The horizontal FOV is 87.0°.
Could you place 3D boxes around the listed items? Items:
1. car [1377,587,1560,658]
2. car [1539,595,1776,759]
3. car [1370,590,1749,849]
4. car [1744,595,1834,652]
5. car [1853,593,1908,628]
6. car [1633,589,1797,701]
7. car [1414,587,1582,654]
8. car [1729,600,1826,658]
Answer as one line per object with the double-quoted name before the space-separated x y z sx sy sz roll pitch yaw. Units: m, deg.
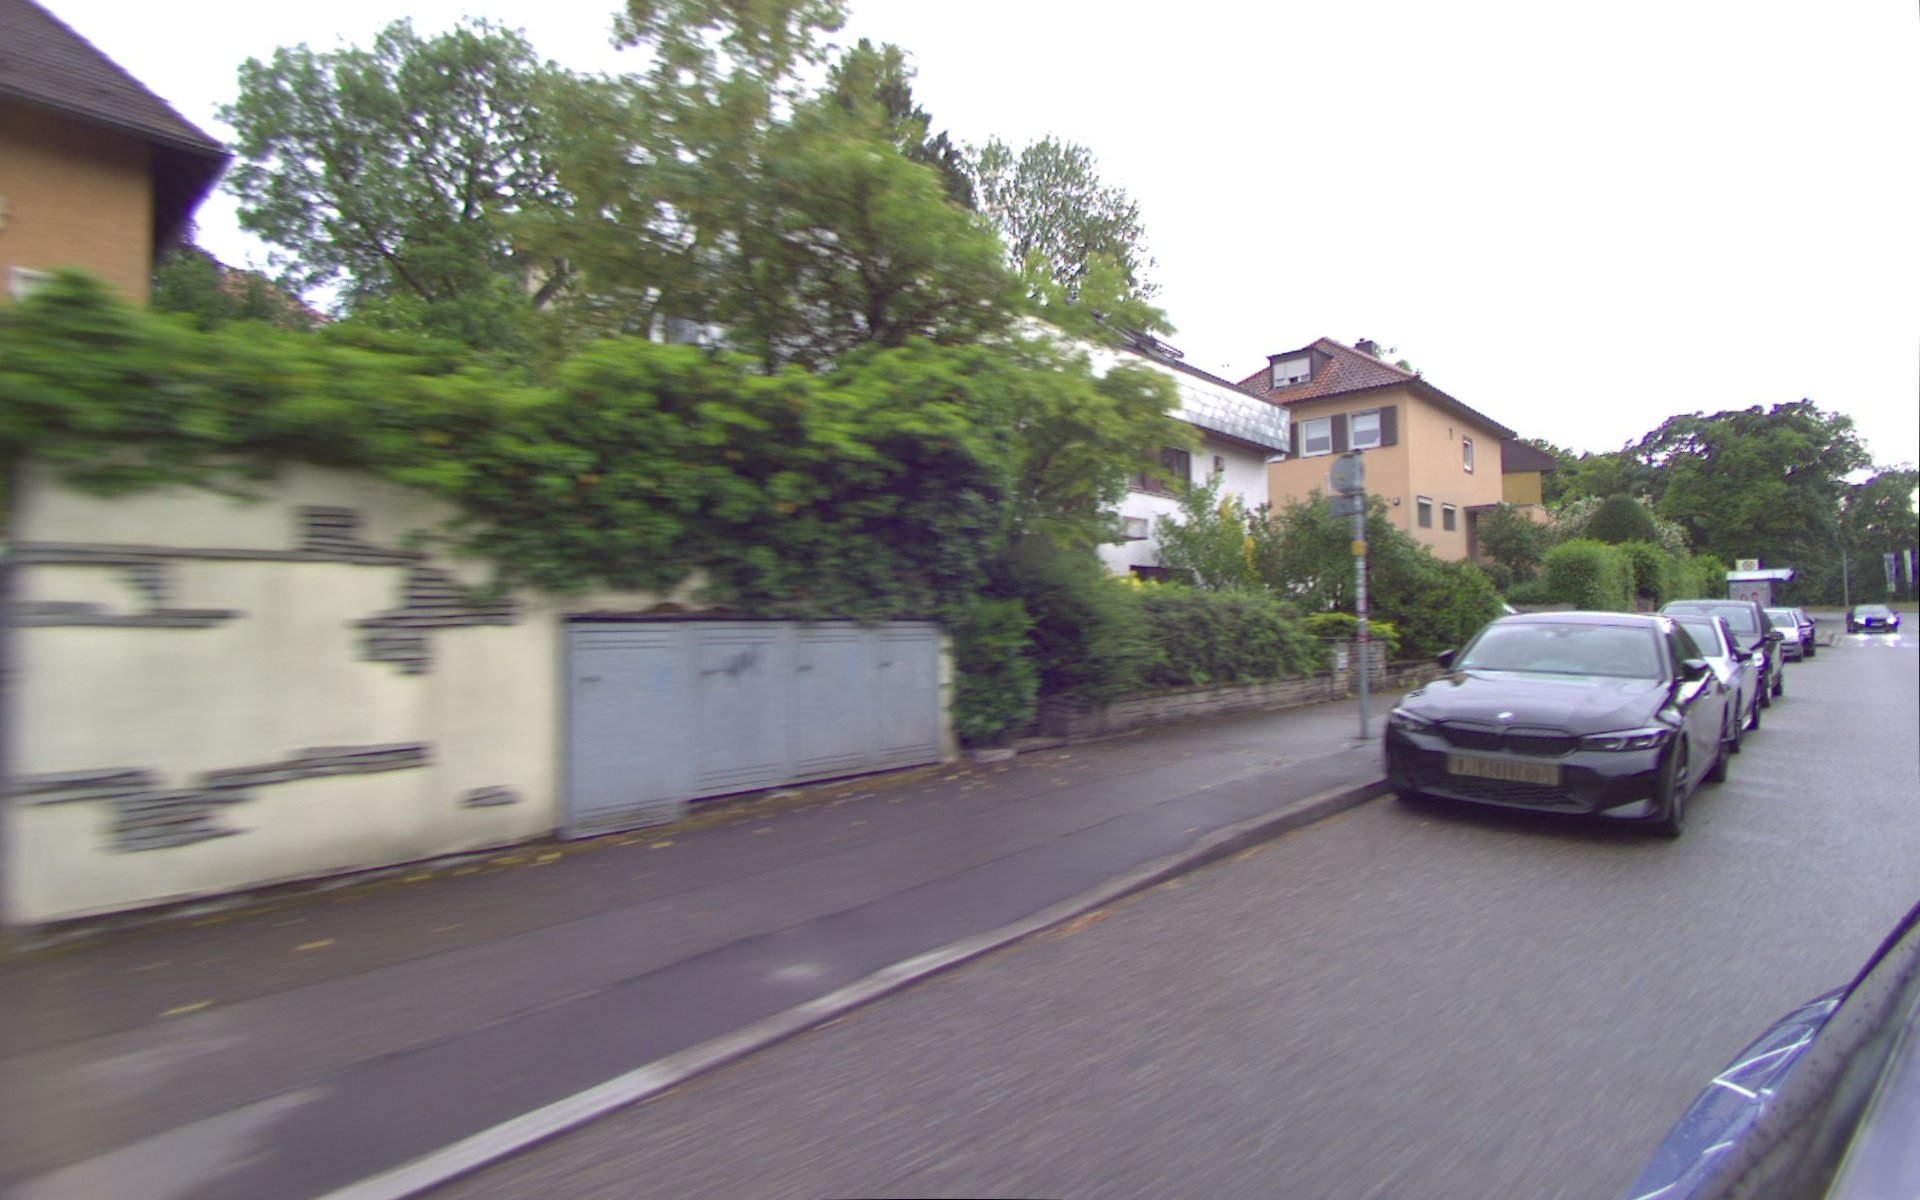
"car" 12.413 0.494 24.810 3.656 1.586 1.854 1 1 43
"car" 8.425 0.750 12.045 1.791 1.505 4.428 -1 0 41
"car" 5.033 0.687 8.153 1.750 1.461 4.531 -1 0 42
"car" 26.084 0.695 31.777 1.830 1.567 4.557 -1 0 44
"car" 47.665 0.531 52.383 1.994 1.746 3.936 -1 0 44
"car" 12.465 0.641 16.594 1.729 1.588 4.452 -1 -1 42
"car" 14.345 0.490 27.044 3.653 1.555 1.802 3 2 40
"car" 22.952 0.759 28.348 1.812 1.416 4.039 -1 0 43
